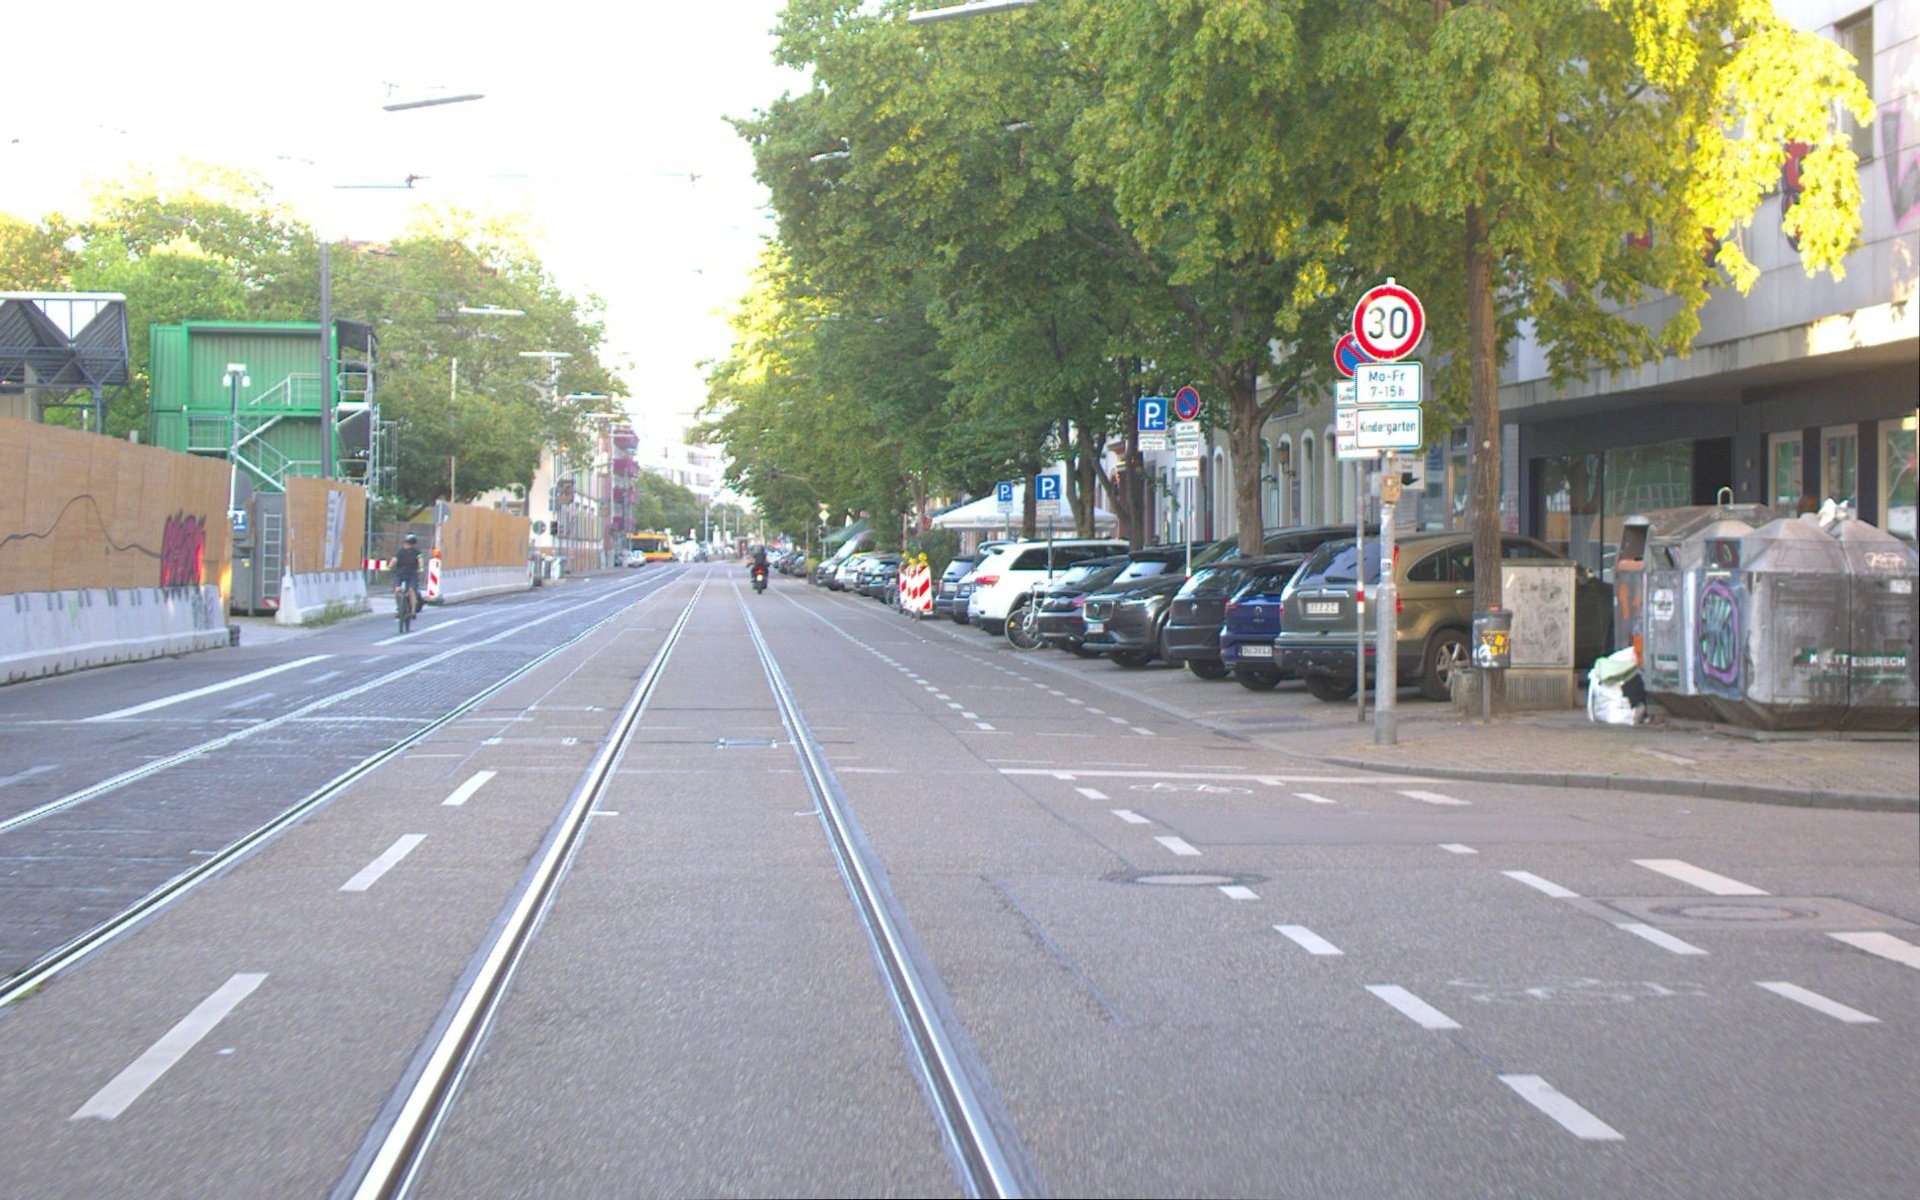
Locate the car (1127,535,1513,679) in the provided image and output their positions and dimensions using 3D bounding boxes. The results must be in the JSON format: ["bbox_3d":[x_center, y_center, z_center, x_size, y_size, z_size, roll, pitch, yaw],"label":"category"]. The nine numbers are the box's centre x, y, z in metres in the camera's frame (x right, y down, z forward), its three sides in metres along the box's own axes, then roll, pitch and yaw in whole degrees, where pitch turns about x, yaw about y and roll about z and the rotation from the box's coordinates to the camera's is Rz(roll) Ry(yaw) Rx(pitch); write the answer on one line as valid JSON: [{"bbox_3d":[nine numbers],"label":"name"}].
[{"bbox_3d":[4.275,0.067,40.685,4.154,1.460,1.971,-3,1,-31],"label":"car"}]

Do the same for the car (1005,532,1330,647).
[{"bbox_3d":[3.005,-0.164,49.787,4.212,1.422,1.976,-3,1,-26],"label":"car"}]

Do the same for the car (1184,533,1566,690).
[{"bbox_3d":[4.581,0.109,37.793,3.882,1.497,1.813,-3,1,-34],"label":"car"}]

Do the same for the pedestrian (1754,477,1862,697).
[{"bbox_3d":[7.835,-0.125,31.806,0.691,1.978,0.786,-2,1,-4],"label":"pedestrian"}]

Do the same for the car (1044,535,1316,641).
[{"bbox_3d":[3.369,-0.190,52.586,3.747,1.422,1.727,-3,1,-28],"label":"car"}]

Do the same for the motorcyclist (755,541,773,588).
[{"bbox_3d":[-7.189,-1.296,126.087,0.645,1.691,1.026,0,0,-5],"label":"motorcyclist"}]

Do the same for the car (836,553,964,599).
[{"bbox_3d":[-2.164,-0.860,123.606,4.249,1.543,2.020,-1,0,-14],"label":"car"}]

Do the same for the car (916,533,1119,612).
[{"bbox_3d":[1.225,-0.587,72.985,3.961,1.548,1.706,-2,1,-29],"label":"car"}]

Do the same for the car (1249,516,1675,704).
[{"bbox_3d":[5.115,0.073,34.766,4.156,1.658,1.842,-4,1,-38],"label":"car"}]

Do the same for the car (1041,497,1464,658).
[{"bbox_3d":[3.807,-0.310,44.863,4.963,1.820,2.209,-3,1,-22],"label":"car"}]

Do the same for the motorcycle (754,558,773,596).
[{"bbox_3d":[-7.205,-0.846,126.154,0.645,1.364,1.812,0,0,-5],"label":"motorcycle"}]

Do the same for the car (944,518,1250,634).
[{"bbox_3d":[2.217,-0.415,56.402,4.647,1.682,2.008,-2,1,-9],"label":"car"}]

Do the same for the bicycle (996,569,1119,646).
[{"bbox_3d":[1.537,0.111,54.291,1.835,1.099,0.498,-3,2,-17],"label":"bicycle"}]

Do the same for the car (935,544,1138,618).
[{"bbox_3d":[1.578,-0.394,70.465,3.772,1.403,1.706,-2,1,-29],"label":"car"}]

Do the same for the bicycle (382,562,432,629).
[{"bbox_3d":[-10.443,-0.095,64.950,0.768,1.224,1.936,0,1,-4],"label":"bicycle"}]

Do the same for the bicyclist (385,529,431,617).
[{"bbox_3d":[-10.429,-0.512,64.954,0.768,1.660,1.018,0,1,-4],"label":"bicyclist"}]

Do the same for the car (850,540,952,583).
[{"bbox_3d":[-2.349,-1.521,137.057,3.950,1.614,1.921,-1,0,-3],"label":"car"}]

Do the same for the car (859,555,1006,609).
[{"bbox_3d":[-0.847,-0.568,105.949,4.115,1.465,1.824,-3,1,-23],"label":"car"}]
